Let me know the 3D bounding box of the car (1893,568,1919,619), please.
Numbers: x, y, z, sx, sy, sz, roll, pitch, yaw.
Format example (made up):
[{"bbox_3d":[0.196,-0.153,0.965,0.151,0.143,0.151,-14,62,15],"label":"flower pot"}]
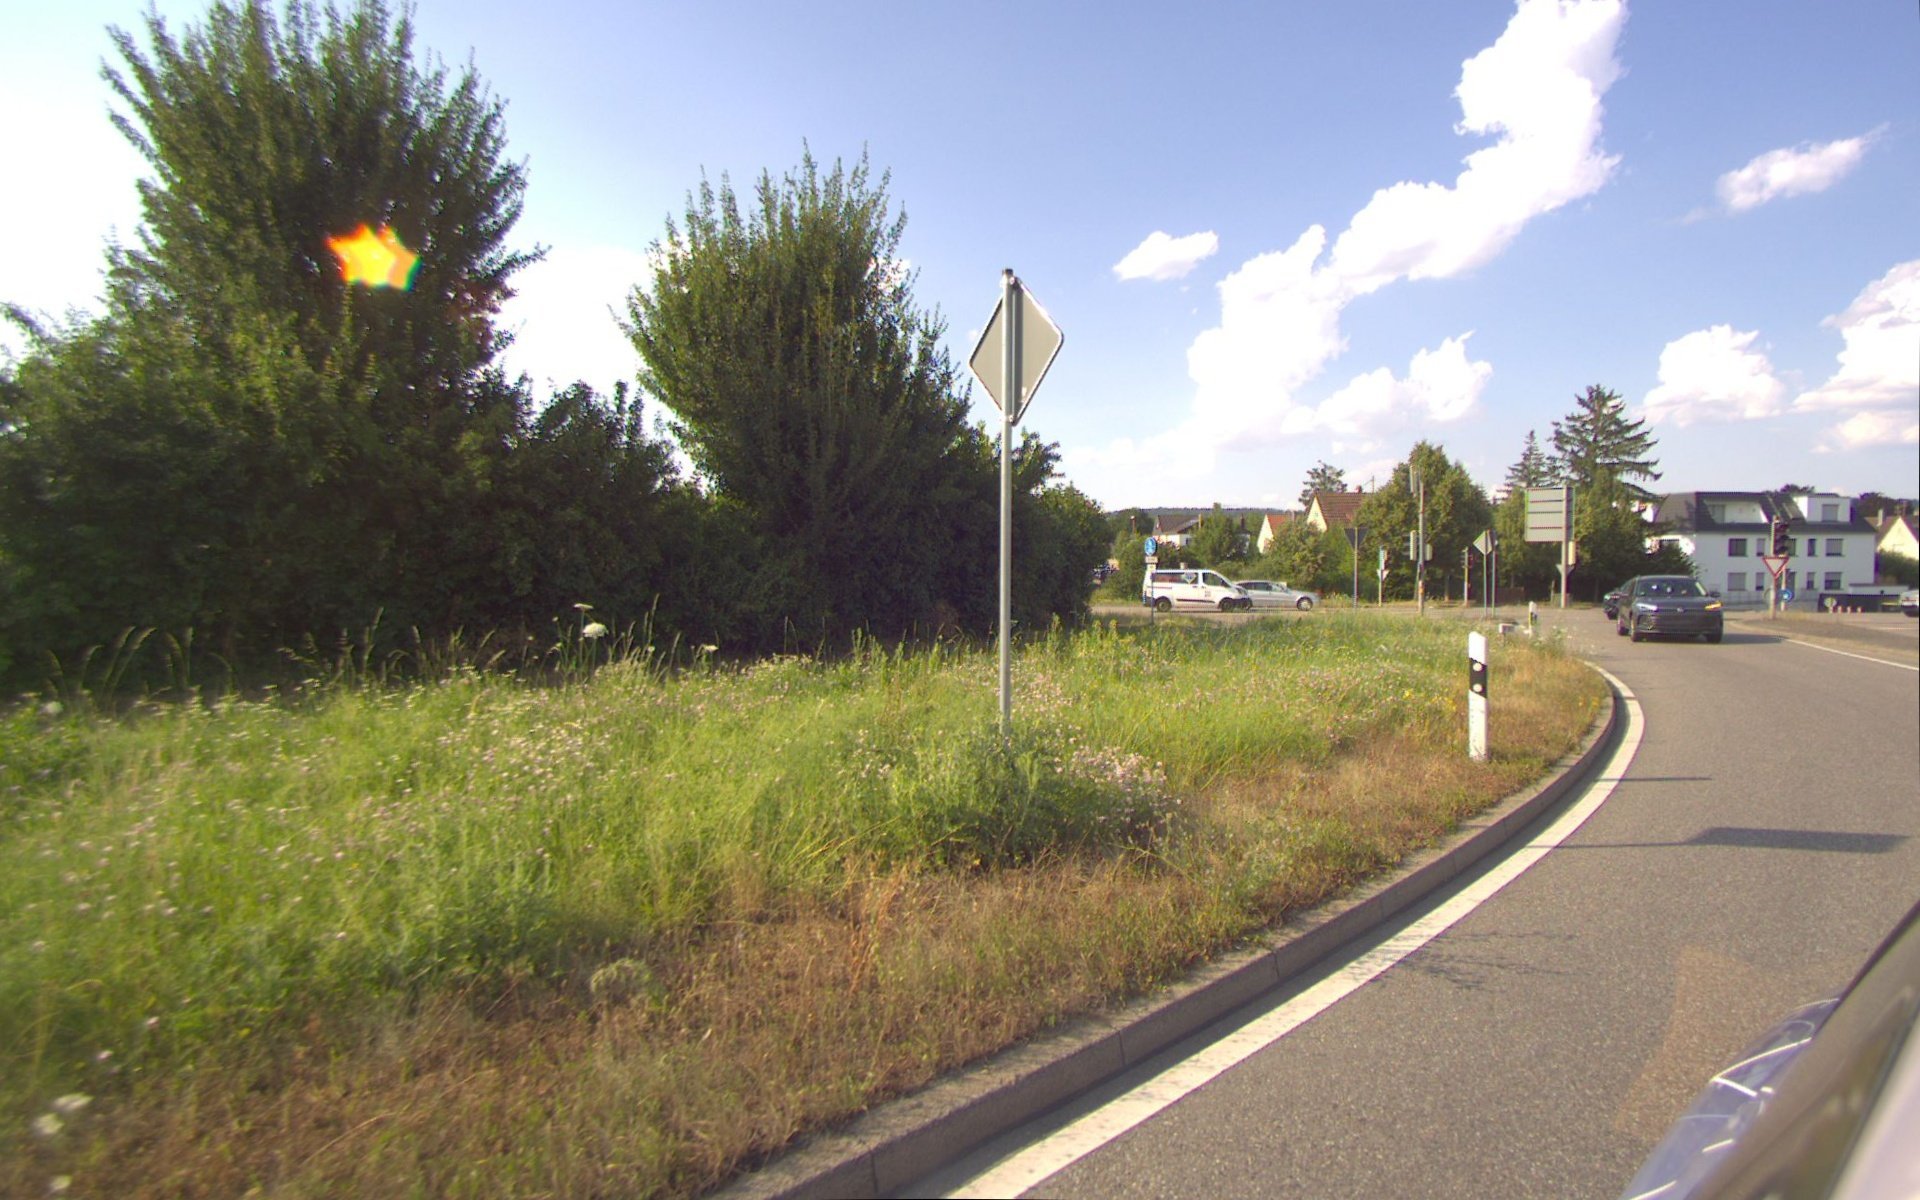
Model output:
[{"bbox_3d":[39.939,-0.324,39.810,4.301,1.973,1.903,-2,-1,10],"label":"car"}]

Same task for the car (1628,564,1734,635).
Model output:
[{"bbox_3d":[18.324,-0.020,25.898,1.774,1.650,4.421,-1,0,30],"label":"car"}]

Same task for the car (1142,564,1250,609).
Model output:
[{"bbox_3d":[10.954,-0.632,46.834,4.752,1.972,1.896,1,0,17],"label":"car"}]

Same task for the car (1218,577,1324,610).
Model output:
[{"bbox_3d":[15.229,-0.293,49.788,4.885,1.533,1.853,-1,0,17],"label":"car"}]

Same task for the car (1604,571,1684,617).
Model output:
[{"bbox_3d":[25.838,-0.215,38.166,1.770,1.633,4.476,-1,0,44],"label":"car"}]
